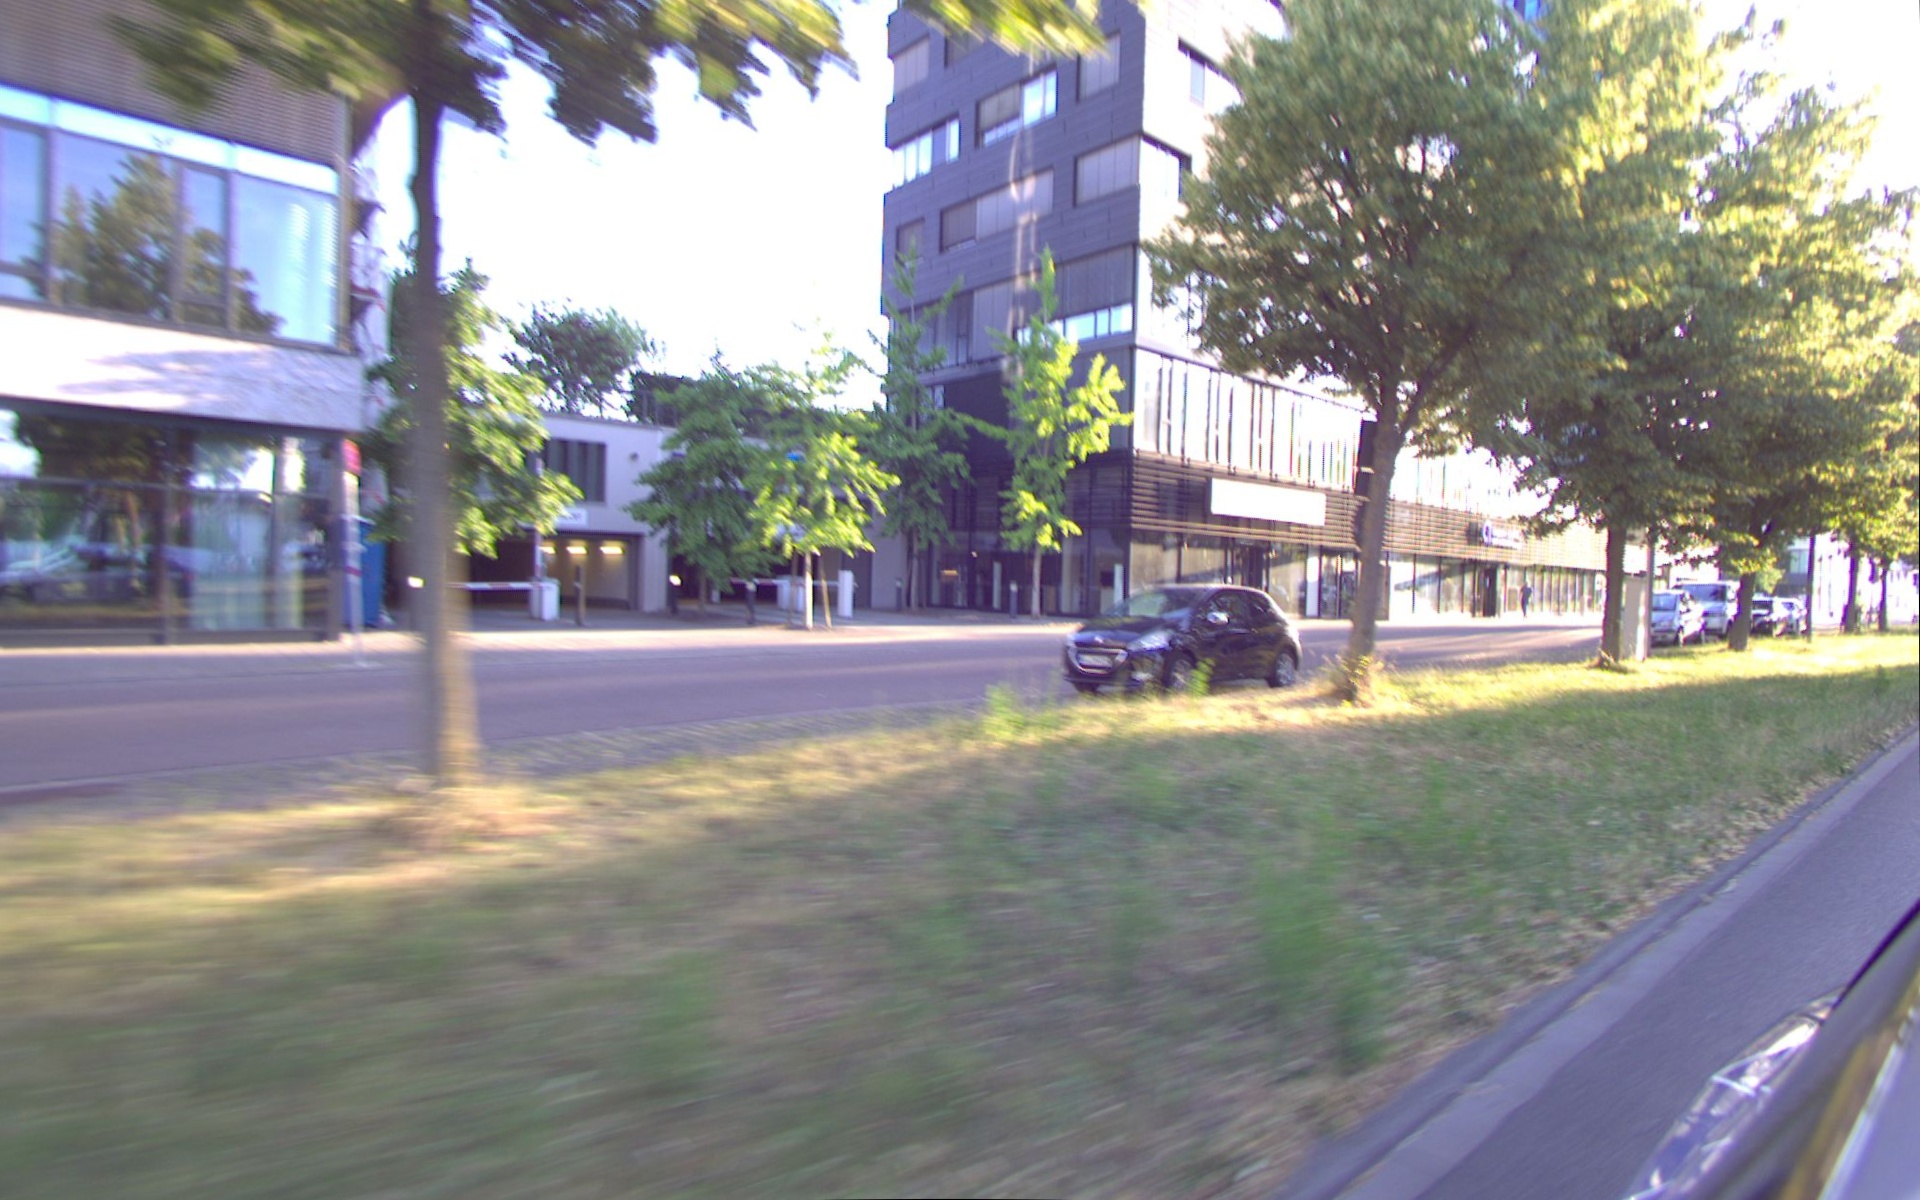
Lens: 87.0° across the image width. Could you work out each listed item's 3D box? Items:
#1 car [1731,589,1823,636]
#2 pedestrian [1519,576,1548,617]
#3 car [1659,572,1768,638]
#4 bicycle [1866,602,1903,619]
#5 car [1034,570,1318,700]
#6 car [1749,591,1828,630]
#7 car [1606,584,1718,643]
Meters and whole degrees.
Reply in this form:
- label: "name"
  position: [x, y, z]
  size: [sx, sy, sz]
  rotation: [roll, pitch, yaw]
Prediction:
- label: "car"
  position: [29.942, 0.418, 37.043]
  size: [4.215, 1.514, 1.863]
  rotation: [0, 4, -41]
- label: "pedestrian"
  position: [26.115, -0.162, 46.082]
  size: [0.897, 1.819, 0.898]
  rotation: [1, 1, -43]
- label: "car"
  position: [24.780, 0.146, 33.216]
  size: [4.848, 2.014, 1.989]
  rotation: [0, 1, -42]
- label: "bicycle"
  position: [53.050, 0.614, 58.106]
  size: [0.355, 0.921, 1.726]
  rotation: [1, 1, -8]
- label: "car"
  position: [3.022, 0.431, 13.753]
  size: [3.931, 1.513, 1.783]
  rotation: [0, -2, -42]
- label: "car"
  position: [34.509, 0.393, 42.109]
  size: [4.957, 1.515, 1.919]
  rotation: [0, 1, -43]
- label: "car"
  position: [20.412, 0.353, 29.371]
  size: [3.992, 1.590, 1.841]
  rotation: [0, 1, -43]
